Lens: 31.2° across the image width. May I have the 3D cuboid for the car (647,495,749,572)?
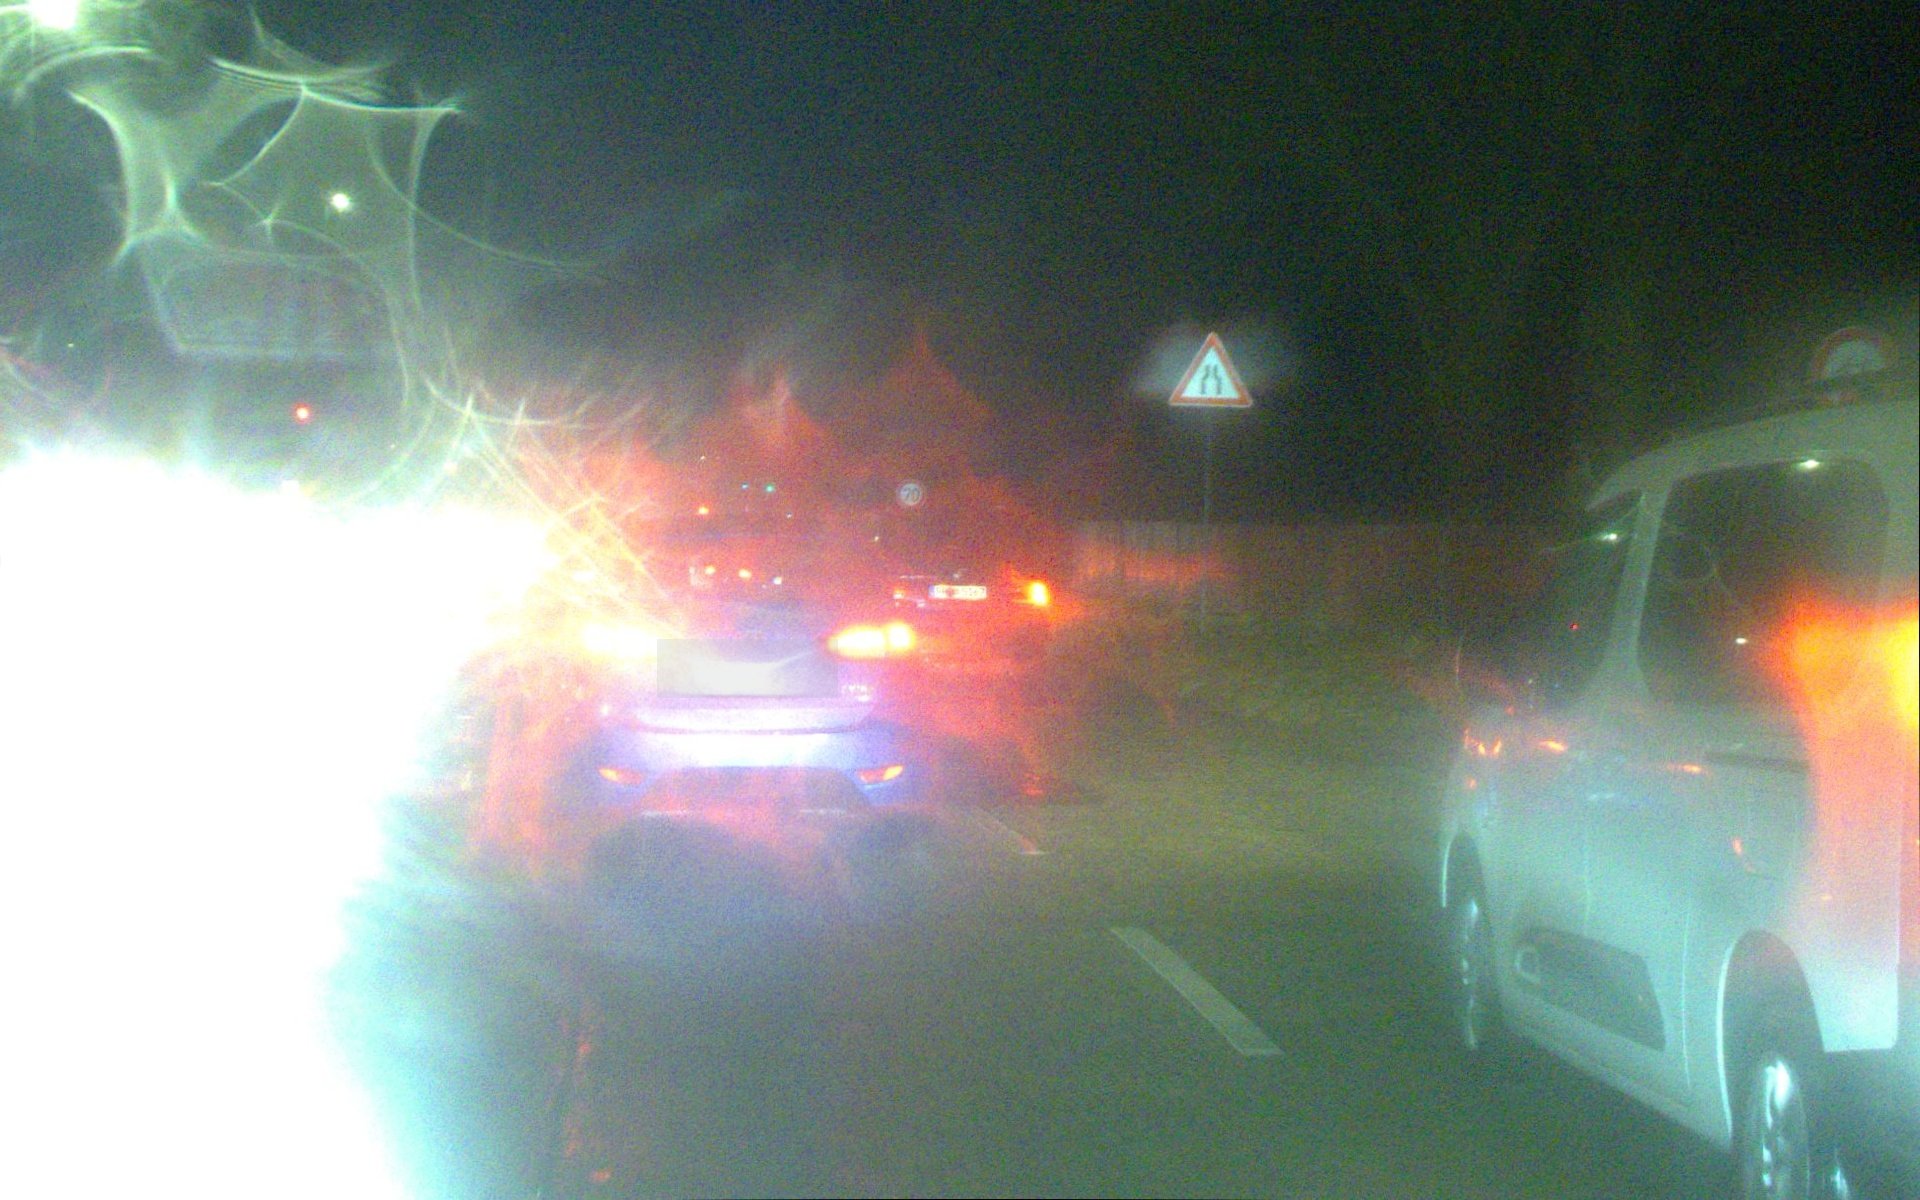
[{"bbox_3d":[-5.859,-1.505,77.281,1.993,1.628,4.000,2,2,-1],"label":"car"}]

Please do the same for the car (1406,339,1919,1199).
[{"bbox_3d":[2.326,0.469,7.778,1.851,1.858,4.341,1,2,-2],"label":"car"}]

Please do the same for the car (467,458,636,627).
[{"bbox_3d":[-5.235,-0.756,43.732,1.993,2.006,4.001,1,2,-8],"label":"car"}]

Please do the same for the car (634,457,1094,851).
[{"bbox_3d":[-0.572,0.181,17.590,2.014,1.711,4.453,1,2,-4],"label":"car"}]

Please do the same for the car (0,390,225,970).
[{"bbox_3d":[-3.956,0.180,13.262,2.014,1.880,4.453,1,2,-10],"label":"car"}]

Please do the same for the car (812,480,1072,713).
[{"bbox_3d":[-0.240,-0.089,32.799,1.968,2.040,4.001,1,2,-7],"label":"car"}]
